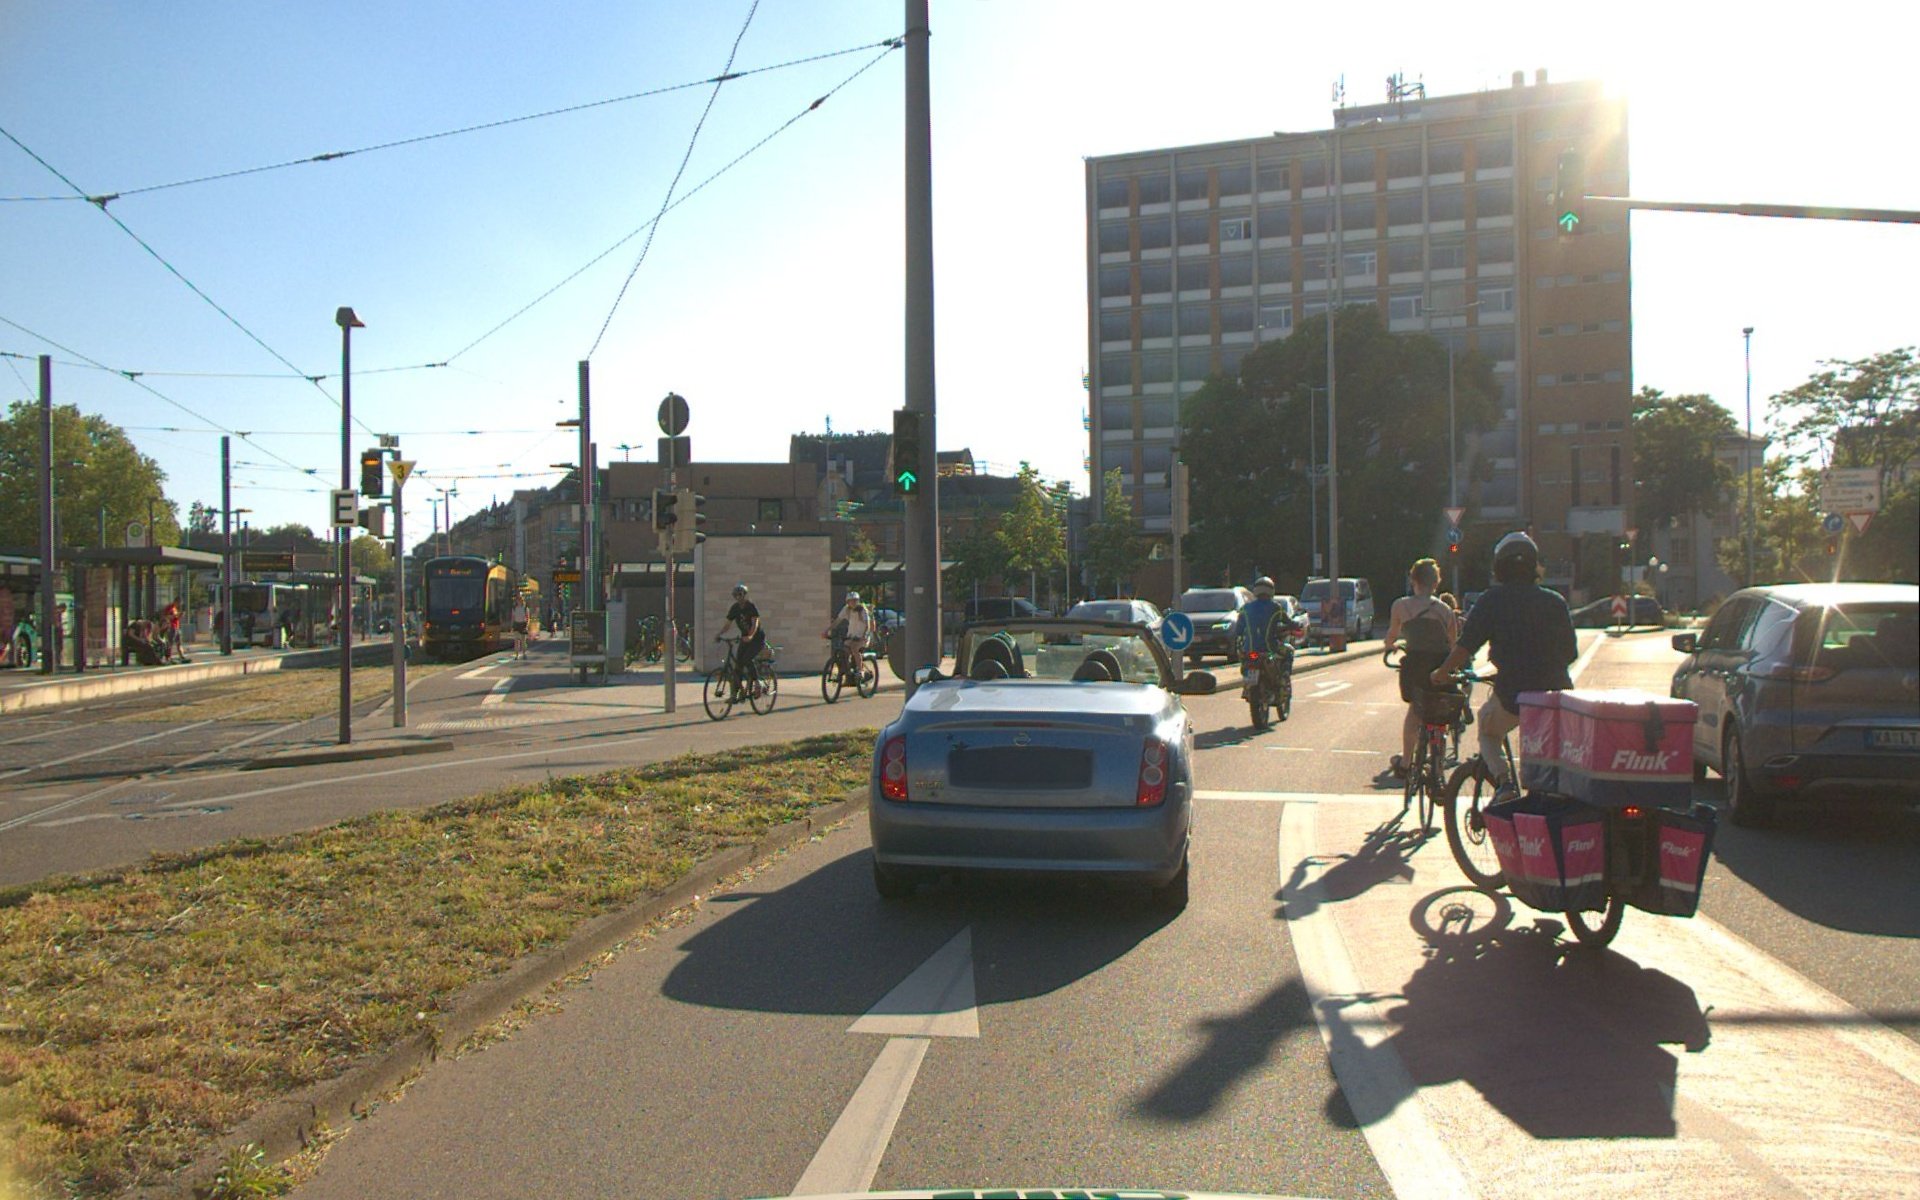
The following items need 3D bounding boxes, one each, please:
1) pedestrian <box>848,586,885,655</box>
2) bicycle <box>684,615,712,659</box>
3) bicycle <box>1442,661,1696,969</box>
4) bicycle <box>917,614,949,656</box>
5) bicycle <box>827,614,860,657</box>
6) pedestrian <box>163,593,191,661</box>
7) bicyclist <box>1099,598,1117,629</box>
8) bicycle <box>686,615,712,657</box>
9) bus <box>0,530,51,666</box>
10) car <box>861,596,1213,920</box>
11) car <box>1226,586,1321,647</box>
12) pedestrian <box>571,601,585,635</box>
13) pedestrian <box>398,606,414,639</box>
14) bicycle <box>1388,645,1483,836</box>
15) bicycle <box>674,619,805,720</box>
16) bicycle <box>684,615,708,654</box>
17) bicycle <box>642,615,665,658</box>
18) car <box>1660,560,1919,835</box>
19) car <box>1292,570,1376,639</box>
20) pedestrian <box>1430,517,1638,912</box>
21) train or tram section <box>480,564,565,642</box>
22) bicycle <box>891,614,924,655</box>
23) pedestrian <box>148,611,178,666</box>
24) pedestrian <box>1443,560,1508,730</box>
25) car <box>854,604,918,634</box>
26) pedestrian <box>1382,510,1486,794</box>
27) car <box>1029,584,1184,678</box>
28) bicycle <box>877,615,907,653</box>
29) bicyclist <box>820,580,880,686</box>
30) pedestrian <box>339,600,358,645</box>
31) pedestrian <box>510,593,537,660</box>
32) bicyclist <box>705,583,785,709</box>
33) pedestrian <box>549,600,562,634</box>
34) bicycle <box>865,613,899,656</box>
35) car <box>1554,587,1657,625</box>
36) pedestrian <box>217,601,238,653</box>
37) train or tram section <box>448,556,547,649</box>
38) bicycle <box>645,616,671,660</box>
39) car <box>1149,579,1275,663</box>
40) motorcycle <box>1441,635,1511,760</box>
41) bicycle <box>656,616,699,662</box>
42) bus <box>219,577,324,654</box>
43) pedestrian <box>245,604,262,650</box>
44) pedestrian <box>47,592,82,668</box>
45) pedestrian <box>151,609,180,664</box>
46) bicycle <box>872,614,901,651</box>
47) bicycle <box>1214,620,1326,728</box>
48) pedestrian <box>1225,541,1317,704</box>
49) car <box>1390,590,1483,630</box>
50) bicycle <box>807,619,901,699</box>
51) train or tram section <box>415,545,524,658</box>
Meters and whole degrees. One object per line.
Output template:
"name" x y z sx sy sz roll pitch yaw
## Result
"pedestrian" -2.594 0.568 45.938 0.885 1.901 0.685 1 -1 -13
"bicycle" -7.007 0.977 44.152 0.596 1.134 1.890 1 -1 -13
"bicycle" 2.864 0.930 8.024 0.542 1.192 2.374 1 0 5
"bicycle" -0.749 0.947 45.417 0.596 1.134 1.892 1 -1 -10
"bicycle" -3.180 0.961 44.935 0.596 1.134 1.890 1 -1 -13
"pedestrian" -20.889 0.713 44.126 0.561 1.779 0.637 -1 0 -18
"bicyclist" 7.819 0.698 87.163 0.737 1.626 0.588 1 -1 30
"bicycle" -7.298 1.001 46.211 0.596 1.134 1.890 1 -1 -13
"bus" -23.576 -0.075 37.042 2.606 3.190 9.619 1 0 -10
"car" 0.625 0.747 9.786 1.625 1.466 4.157 1 0 8
"car" 8.699 0.431 45.695 1.661 1.588 3.977 -1 0 25
"pedestrian" -20.120 0.950 87.086 0.628 1.779 0.732 -1 0 -19
"pedestrian" -30.196 1.211 90.130 0.720 1.779 0.638 -1 0 -8
"bicycle" 3.288 0.921 11.543 0.552 1.171 1.951 1 -1 14
"bicycle" -3.032 0.935 23.011 0.660 1.272 2.457 -3 -1 21
"bicycle" -8.000 1.044 50.074 0.596 1.134 1.890 1 -1 -13
"bicycle" -8.487 0.997 45.715 0.596 1.134 1.891 1 -1 -11
"car" 6.579 0.641 12.526 1.792 1.719 4.371 1 0 16
"car" 11.725 0.144 51.626 1.869 1.979 4.707 -3 -1 21
"pedestrian" 2.927 0.556 8.517 0.789 1.901 0.957 1 -1 5
"train or tram section" -22.081 0.183 84.128 2.984 3.660 12.023 1 0 -10
"bicycle" -1.515 0.976 47.422 0.596 1.134 1.890 1 -1 -13
"pedestrian" -20.111 0.976 41.738 0.606 1.364 0.438 -1 0 -18
"pedestrian" 5.114 0.435 16.427 0.575 1.626 1.025 1 -1 17
"car" -3.951 1.012 88.283 1.629 1.588 3.548 -1 0 -39
"pedestrian" 3.309 0.350 11.598 0.645 1.901 0.873 1 -1 14
"car" 2.785 0.556 30.631 1.701 1.601 3.923 1 -1 23
"bicycle" -2.109 1.042 51.099 0.596 1.134 1.890 1 -1 -13
"bicyclist" -1.774 0.524 26.699 0.694 1.686 0.743 -1 0 21
"pedestrian" -24.448 0.885 66.144 0.630 1.779 0.567 -1 0 -27
"pedestrian" -11.596 0.701 43.950 0.628 1.779 0.569 -1 0 -19
"bicyclist" -2.994 0.633 23.082 0.694 1.686 0.901 -3 -1 21
"pedestrian" -21.888 0.918 89.439 0.593 1.779 0.830 -1 0 -8
"bicycle" -2.129 0.920 45.094 0.596 1.134 1.890 1 -1 -13
"car" 28.961 0.270 74.221 3.913 1.557 1.801 -2 -1 -9
"pedestrian" -25.063 0.922 56.574 0.630 1.779 0.567 -1 0 -27
"train or tram section" -20.010 0.133 72.235 2.958 3.660 12.168 1 0 -10
"bicycle" -8.010 0.991 43.806 0.596 1.134 1.890 1 -1 -13
"car" 5.779 0.447 37.538 1.726 1.736 4.529 -3 -1 23
"motorcycle" 5.111 0.924 16.435 0.600 1.117 2.361 1 -1 17
"bicycle" -7.201 0.984 42.214 0.594 1.134 1.898 1 -1 5
"bus" -32.778 0.699 79.269 2.675 3.331 13.413 1 0 -14
"pedestrian" -28.071 1.073 65.689 0.562 1.779 0.636 -1 0 -20
"pedestrian" -21.121 0.698 39.030 0.527 1.779 0.559 -1 0 -6
"pedestrian" -20.361 0.926 42.389 0.561 1.369 0.637 -1 0 -18
"bicycle" -2.360 1.030 53.067 0.596 1.134 1.890 1 -1 -13
"bicycle" 3.776 0.857 19.971 0.596 1.212 2.410 1 -1 29
"pedestrian" 3.753 0.263 19.933 0.817 1.901 0.919 1 -1 29
"car" 20.284 0.430 70.389 3.957 1.557 1.781 -2 -1 -37
"bicycle" -1.698 0.934 26.865 0.660 1.201 2.183 -1 0 21
"train or tram section" -17.671 0.074 60.282 2.831 3.660 12.161 1 0 -12
